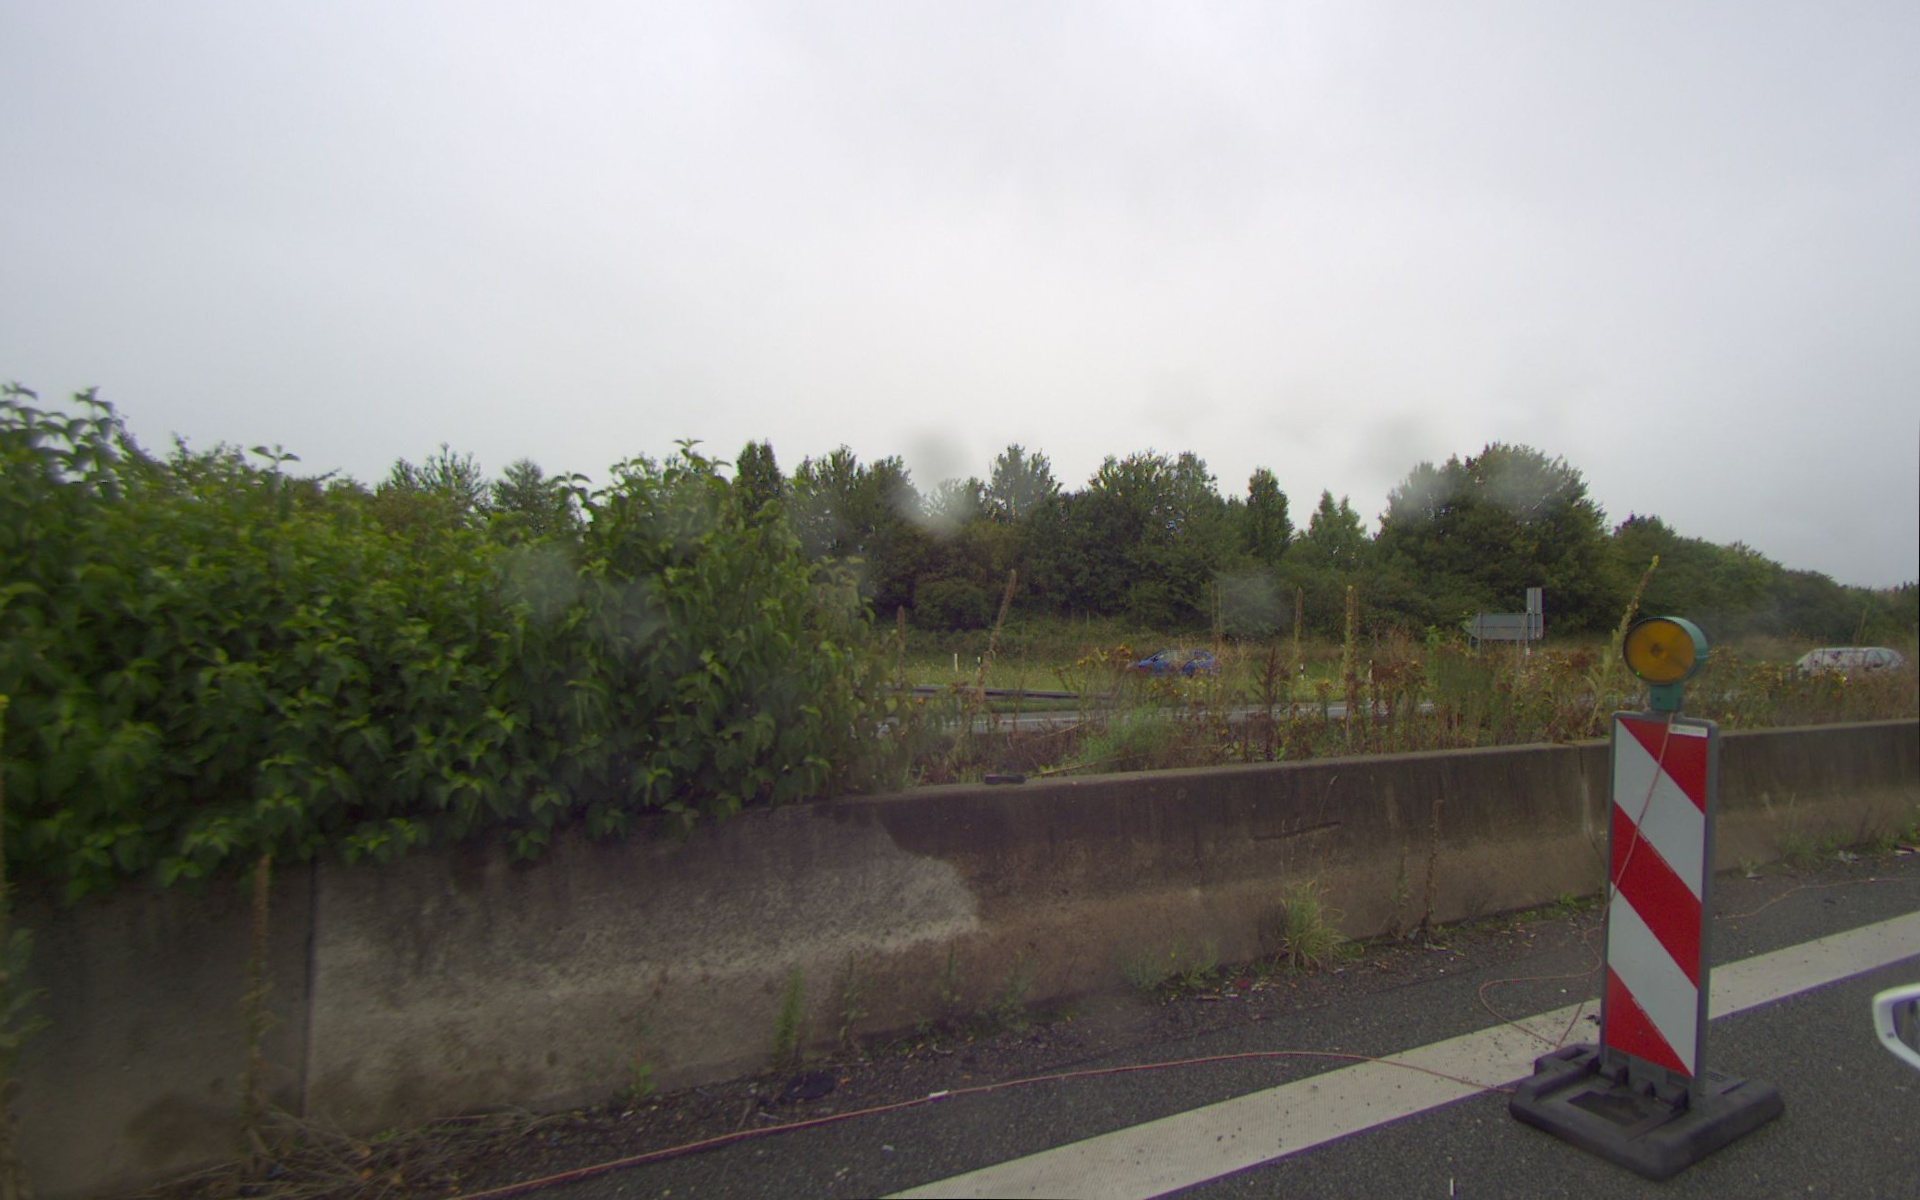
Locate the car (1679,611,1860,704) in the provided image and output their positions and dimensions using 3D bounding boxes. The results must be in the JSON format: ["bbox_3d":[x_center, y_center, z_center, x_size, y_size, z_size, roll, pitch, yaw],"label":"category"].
[{"bbox_3d":[19.429,1.358,24.097,3.951,2.040,1.985,2,0,-28],"label":"car"}]

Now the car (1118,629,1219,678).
[{"bbox_3d":[9.206,2.355,44.556,4.198,2.138,1.697,0,-2,3],"label":"car"}]
